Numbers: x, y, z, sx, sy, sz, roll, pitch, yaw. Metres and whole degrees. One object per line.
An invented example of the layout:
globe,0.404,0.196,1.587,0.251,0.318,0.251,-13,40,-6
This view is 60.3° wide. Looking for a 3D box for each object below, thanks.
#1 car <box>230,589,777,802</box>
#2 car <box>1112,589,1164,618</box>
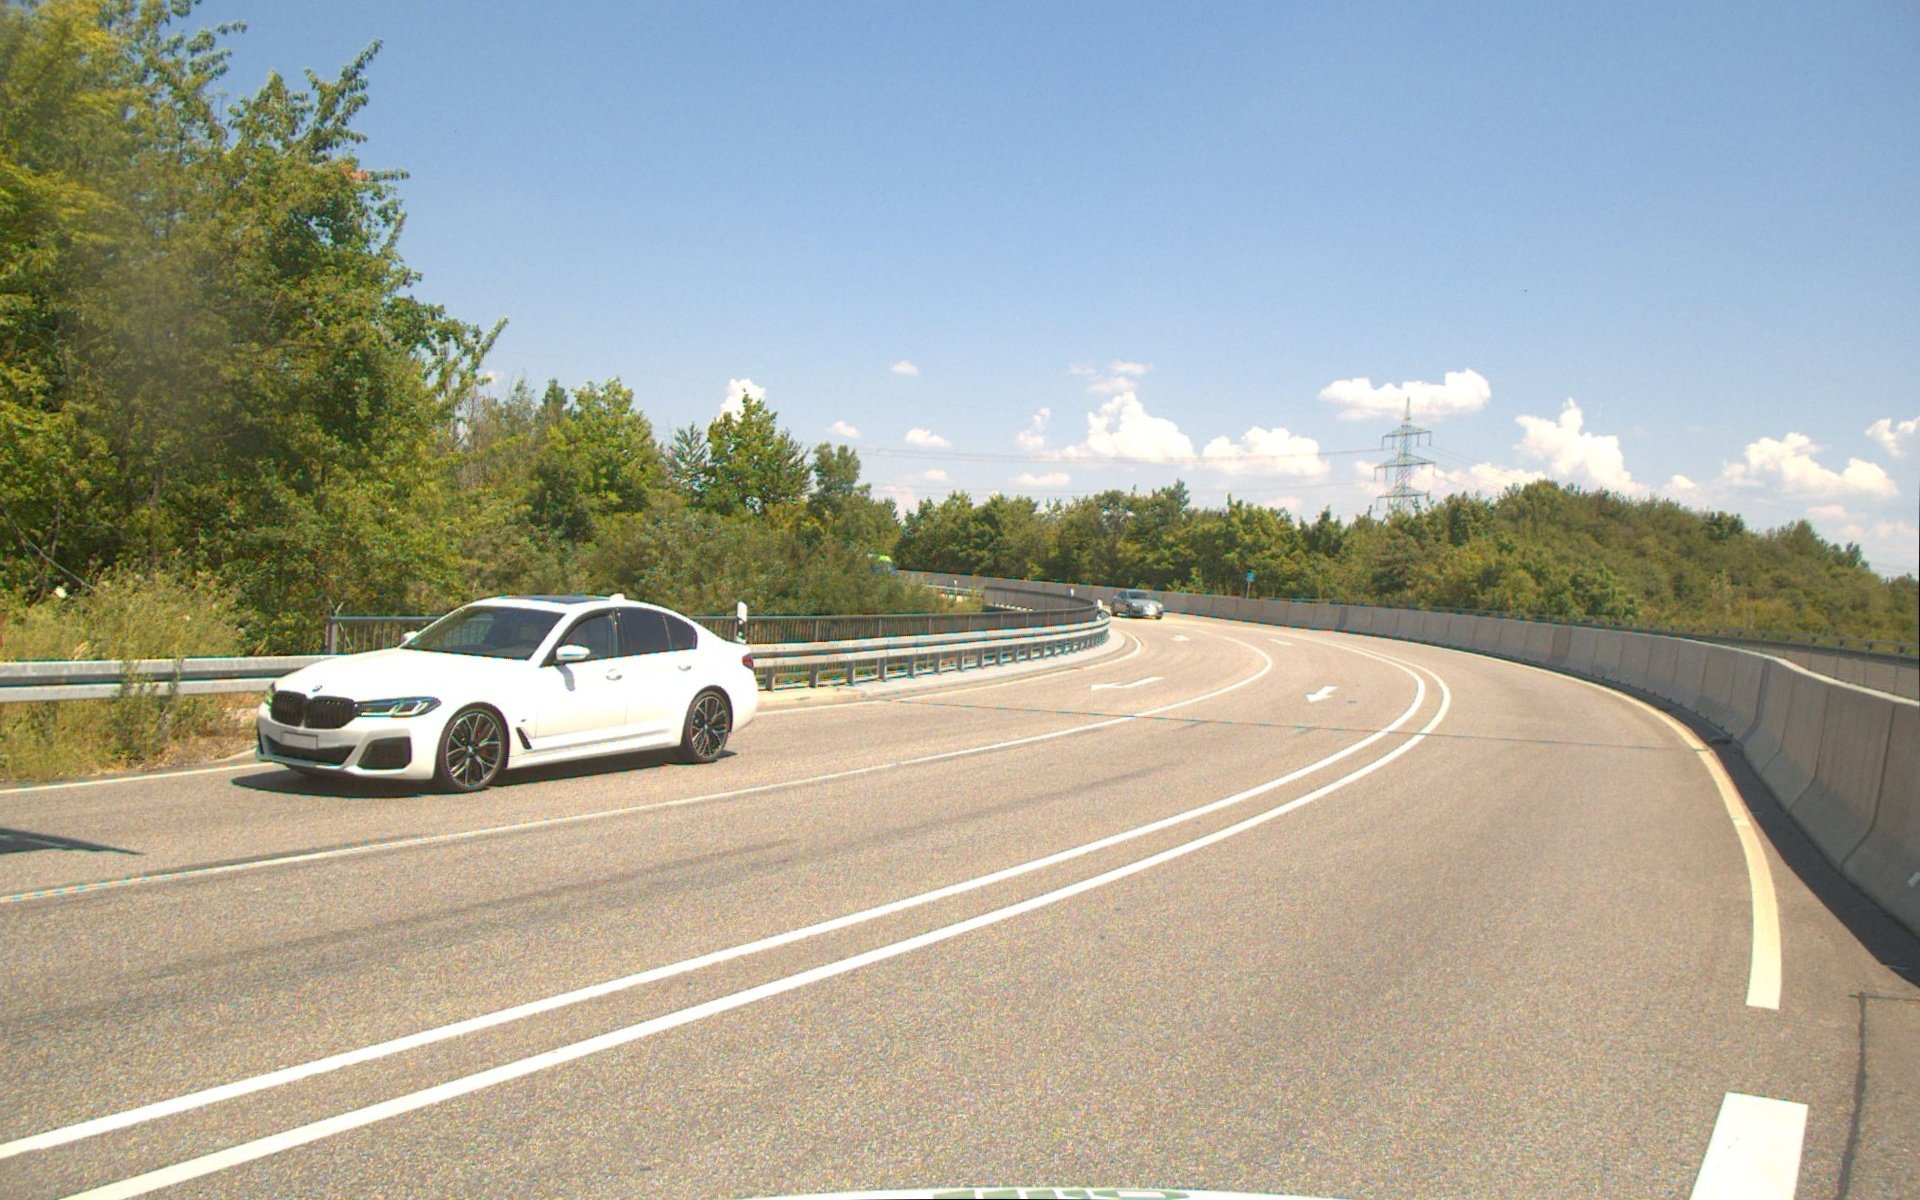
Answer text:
car,-3.690,0.716,14.414,1.802,1.510,4.831,1,-1,27
car,9.209,0.157,85.874,1.745,1.409,4.276,2,1,-7
